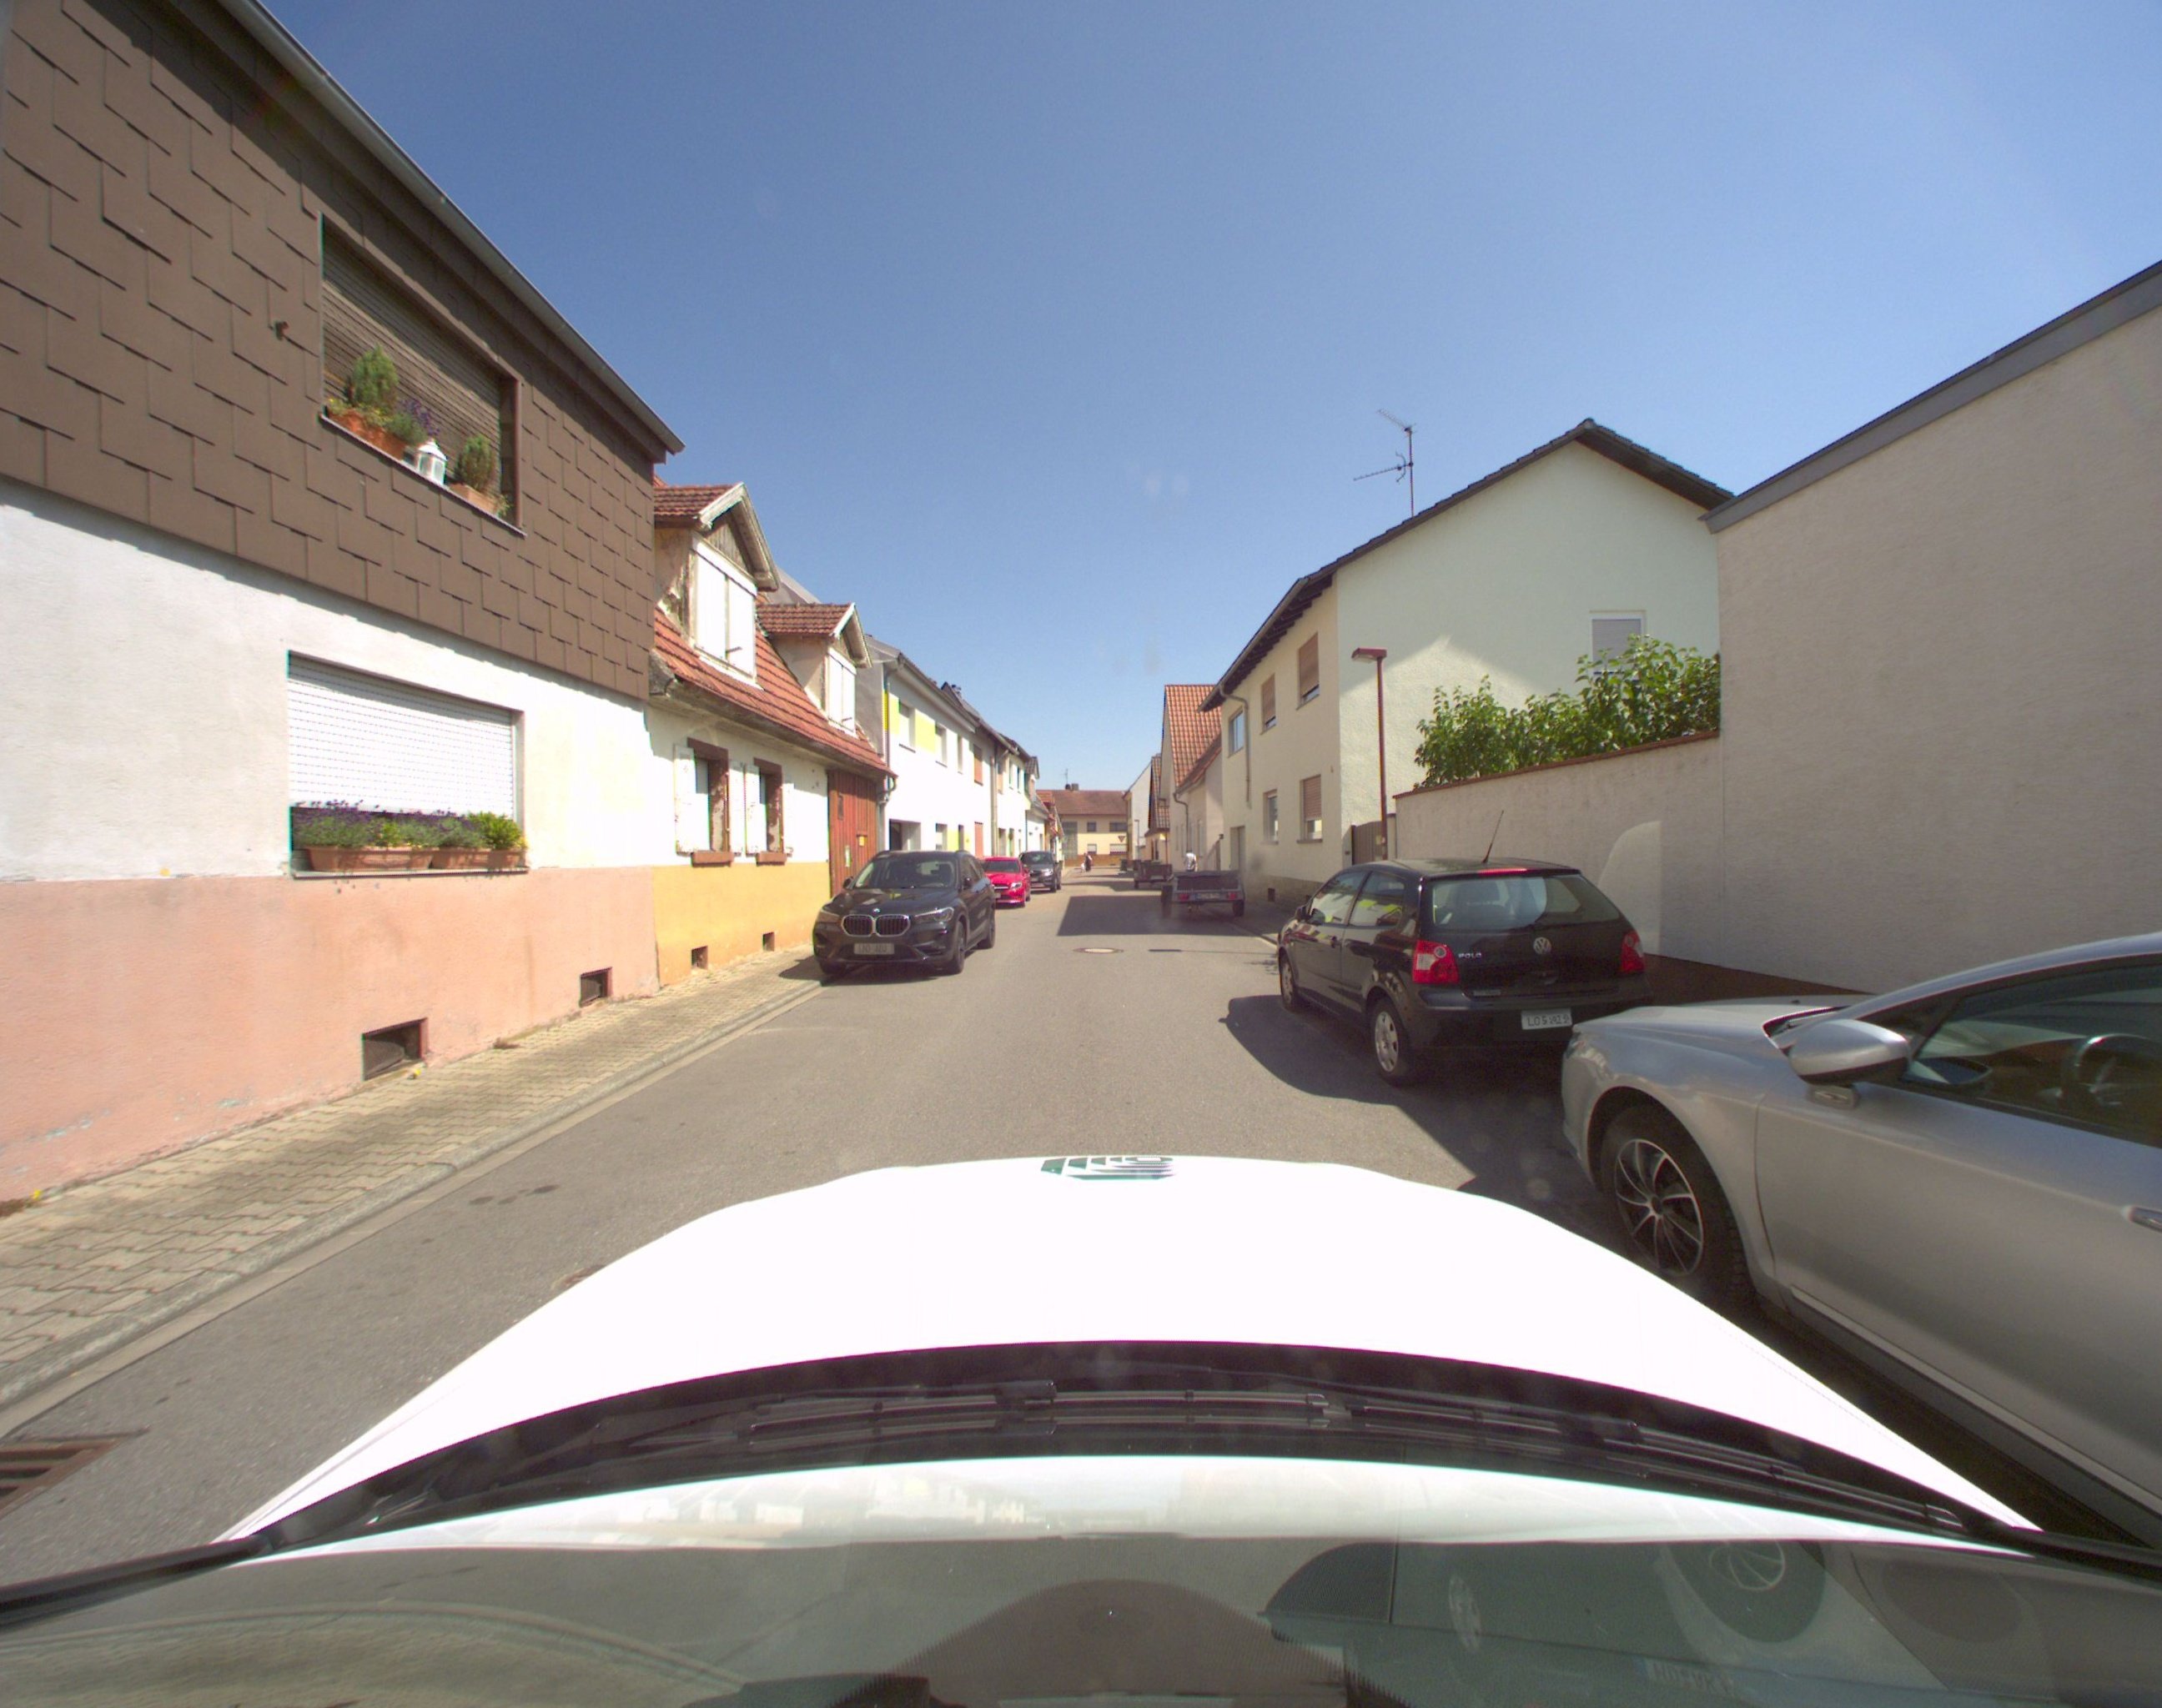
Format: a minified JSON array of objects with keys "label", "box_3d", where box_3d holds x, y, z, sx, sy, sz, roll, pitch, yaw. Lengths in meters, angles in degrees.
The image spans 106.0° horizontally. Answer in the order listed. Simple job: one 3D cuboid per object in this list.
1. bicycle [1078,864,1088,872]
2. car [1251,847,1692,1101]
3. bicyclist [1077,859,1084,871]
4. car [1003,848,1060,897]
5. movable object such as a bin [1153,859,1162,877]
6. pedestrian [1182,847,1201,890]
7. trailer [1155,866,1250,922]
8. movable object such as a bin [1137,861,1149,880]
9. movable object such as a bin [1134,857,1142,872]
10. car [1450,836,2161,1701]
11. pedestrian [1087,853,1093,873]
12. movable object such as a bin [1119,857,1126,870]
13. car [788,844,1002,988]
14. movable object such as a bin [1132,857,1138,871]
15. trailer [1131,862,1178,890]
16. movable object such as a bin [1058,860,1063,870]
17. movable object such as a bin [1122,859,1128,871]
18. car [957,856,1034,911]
[{"label":"bicycle","box_3d":[0.132,1.137,66.158,0.443,0.567,0.931,-1,0,-28]},{"label":"car","box_3d":[2.736,0.710,6.857,1.644,1.436,4.132,-2,0,-1]},{"label":"bicyclist","box_3d":[-0.009,0.923,66.262,0.464,0.959,0.349,-1,1,-28]},{"label":"car","box_3d":[-1.868,0.695,32.124,1.793,1.704,4.488,-2,0,1]},{"label":"movable object such as a bin","box_3d":[4.728,0.878,50.419,0.456,1.087,0.502,-2,-1,0]},{"label":"pedestrian","box_3d":[4.156,0.550,30.700,0.594,1.565,0.556,-1,-4,-1]},{"label":"trailer","box_3d":[2.741,0.870,19.052,1.810,1.090,3.482,-1,0,2]},{"label":"movable object such as a bin","box_3d":[3.334,0.886,43.914,0.583,1.033,0.595,-2,0,0]},{"label":"movable object such as a bin","box_3d":[4.609,0.843,65.737,0.524,1.128,0.366,-2,-1,-2]},{"label":"car","box_3d":[2.781,0.723,1.650,1.785,1.481,4.933,-3,0,0]},{"label":"pedestrian","box_3d":[0.719,0.760,66.707,0.411,1.610,0.367,-2,-1,-9]},{"label":"movable object such as a bin","box_3d":[3.545,0.799,69.482,0.567,1.128,0.453,-2,-1,-2]},{"label":"car","box_3d":[-2.342,0.712,11.575,1.793,1.574,4.617,-2,0,2]},{"label":"movable object such as a bin","box_3d":[4.520,0.856,68.304,0.424,1.128,0.413,-2,-1,-2]},{"label":"trailer","box_3d":[2.995,0.878,33.835,1.693,1.033,3.482,-1,0,1]},{"label":"movable object such as a bin","box_3d":[-1.895,1.004,74.944,0.447,0.921,0.404,-2,-1,-2]},{"label":"movable object such as a bin","box_3d":[3.742,0.933,68.872,0.422,0.975,0.473,-2,0,-2]},{"label":"car","box_3d":[-2.446,0.802,24.204,1.794,1.441,4.486,-2,0,0]}]
